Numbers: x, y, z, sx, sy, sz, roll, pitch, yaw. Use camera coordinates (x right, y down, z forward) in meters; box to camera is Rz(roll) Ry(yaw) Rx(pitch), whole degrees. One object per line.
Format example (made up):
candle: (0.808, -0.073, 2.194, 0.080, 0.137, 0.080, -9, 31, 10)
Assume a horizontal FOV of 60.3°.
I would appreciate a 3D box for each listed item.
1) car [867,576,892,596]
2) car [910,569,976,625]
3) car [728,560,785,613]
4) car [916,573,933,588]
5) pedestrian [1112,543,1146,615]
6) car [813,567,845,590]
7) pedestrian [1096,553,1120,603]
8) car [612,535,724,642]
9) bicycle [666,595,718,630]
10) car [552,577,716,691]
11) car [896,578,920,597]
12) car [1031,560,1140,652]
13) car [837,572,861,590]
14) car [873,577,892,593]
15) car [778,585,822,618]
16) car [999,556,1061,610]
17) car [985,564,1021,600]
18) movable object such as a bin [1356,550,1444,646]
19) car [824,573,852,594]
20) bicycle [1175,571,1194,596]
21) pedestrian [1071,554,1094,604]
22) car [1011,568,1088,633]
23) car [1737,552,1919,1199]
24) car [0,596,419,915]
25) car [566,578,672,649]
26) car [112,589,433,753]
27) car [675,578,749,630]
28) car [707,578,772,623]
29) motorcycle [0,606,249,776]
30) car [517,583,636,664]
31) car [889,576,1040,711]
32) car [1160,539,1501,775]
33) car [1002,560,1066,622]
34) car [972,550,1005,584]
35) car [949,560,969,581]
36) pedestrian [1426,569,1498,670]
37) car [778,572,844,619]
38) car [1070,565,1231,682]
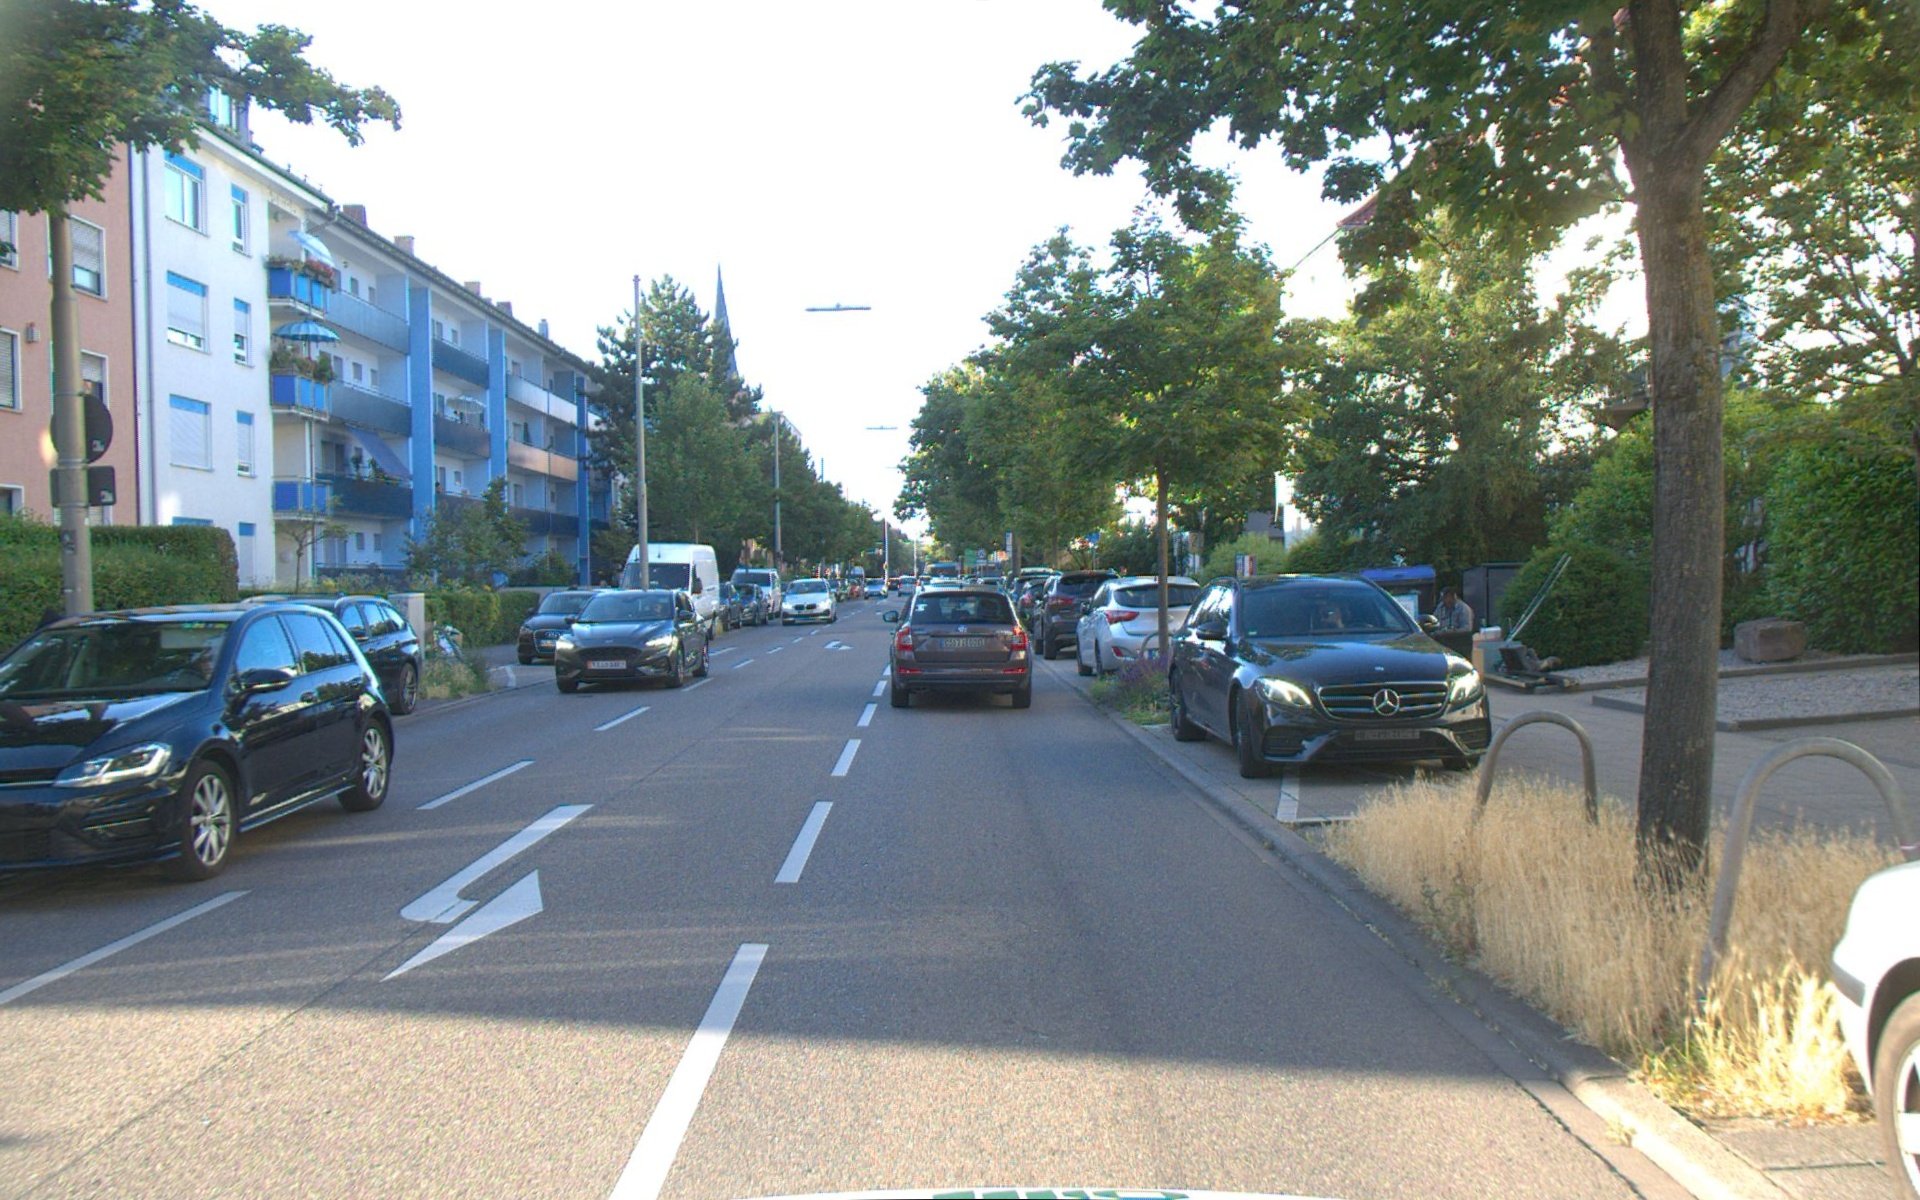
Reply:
car: (-6.273, -1.101, 128.865, 1.744, 1.520, 3.971, 1, 1, -1)
car: (-0.540, -0.072, 49.435, 1.854, 1.532, 3.788, 2, 0, -2)
car: (-8.320, -0.574, 67.938, 1.831, 2.066, 5.299, -1, 1, -2)
car: (-3.989, -2.142, 185.130, 1.613, 1.626, 3.645, -2, 1, -6)
pedestrian: (4.134, -0.514, 40.530, 0.771, 1.730, 0.808, -1, 0, 3)
car: (-8.780, -1.469, 111.367, 1.744, 1.506, 4.034, 0, 1, 1)
pedestrian: (5.691, -0.838, 63.692, 0.781, 1.893, 0.951, -2, 1, 10)
car: (-7.780, -0.344, 44.794, 1.953, 2.662, 7.104, 0, 1, -2)
bicycle: (-7.901, 0.361, 48.768, 1.441, 1.032, 0.440, 0, 1, 6)
car: (-4.840, 0.446, 25.140, 1.665, 1.496, 4.293, -3, 1, -1)
car: (-4.184, -1.008, 133.248, 1.746, 1.506, 3.968, 0, 1, -4)
car: (2.370, 0.070, 32.095, 1.683, 1.629, 4.095, -2, 1, -1)
car: (-9.379, -1.591, 140.046, 1.744, 1.506, 3.972, 0, 1, 1)
car: (-9.038, -1.734, 193.803, 1.955, 1.780, 3.995, -2, 1, -6)
car: (-7.537, 0.055, 78.176, 1.585, 1.506, 3.872, 0, 1, 1)
car: (2.427, -0.609, 58.435, 1.764, 1.839, 4.421, 0, 1, -3)
car: (2.077, -0.879, 81.261, 1.718, 1.716, 4.253, 0, 1, 1)
movable object such as a bin: (7.456, -0.050, 28.072, 1.240, 1.518, 1.140, -4, 1, 9)
car: (-9.132, -1.254, 123.883, 1.744, 1.506, 3.972, 0, 1, 1)
bicycle: (8.830, -0.670, 65.025, 0.465, 0.961, 1.680, -2, 1, -1)
pedestrian: (4.756, -0.804, 64.152, 0.734, 1.893, 1.068, -2, 1, -2)
car: (2.222, -0.015, 41.778, 1.580, 1.491, 3.958, -3, 1, -1)
car: (2.989, 0.650, 2.312, 1.603, 1.516, 4.414, -2, 1, -1)
car: (-4.750, 0.772, 9.956, 1.666, 1.428, 4.027, -3, 1, -1)
car: (-7.869, 0.268, 38.497, 1.672, 1.518, 4.058, 1, 1, -1)
car: (-7.487, 0.678, 18.558, 1.742, 1.531, 4.588, -1, 1, -1)
car: (-8.062, 0.098, 54.124, 1.638, 1.570, 4.474, -2, 1, 1)
car: (-7.900, -0.005, 59.575, 1.657, 1.509, 4.144, -1, 1, 1)
motorcycle: (-7.493, 0.771, 14.739, 2.003, 1.413, 0.979, 1, 0, -33)
car: (-7.708, 0.436, 33.545, 1.579, 1.498, 3.812, 1, 1, -1)
car: (0.074, 0.467, 20.839, 1.718, 1.518, 4.001, 0, 1, 1)
car: (2.949, 0.367, 14.263, 1.836, 1.608, 4.821, -3, 1, 1)
car: (2.163, -0.286, 49.248, 1.718, 1.691, 4.253, -2, 1, 1)
car: (1.665, -1.934, 97.826, 1.877, 1.892, 5.634, -1, 1, 1)
car: (-0.065, -2.598, 145.714, 1.718, 1.837, 4.000, 0, 1, -1)
pedestrian: (6.405, 0.239, 21.139, 0.659, 1.256, 0.790, -1, 0, -1)
car: (-5.233, -0.188, 58.583, 1.841, 1.570, 4.268, -2, 1, 1)
car: (2.711, 0.277, 24.438, 1.684, 1.520, 4.393, -2, 1, -2)
